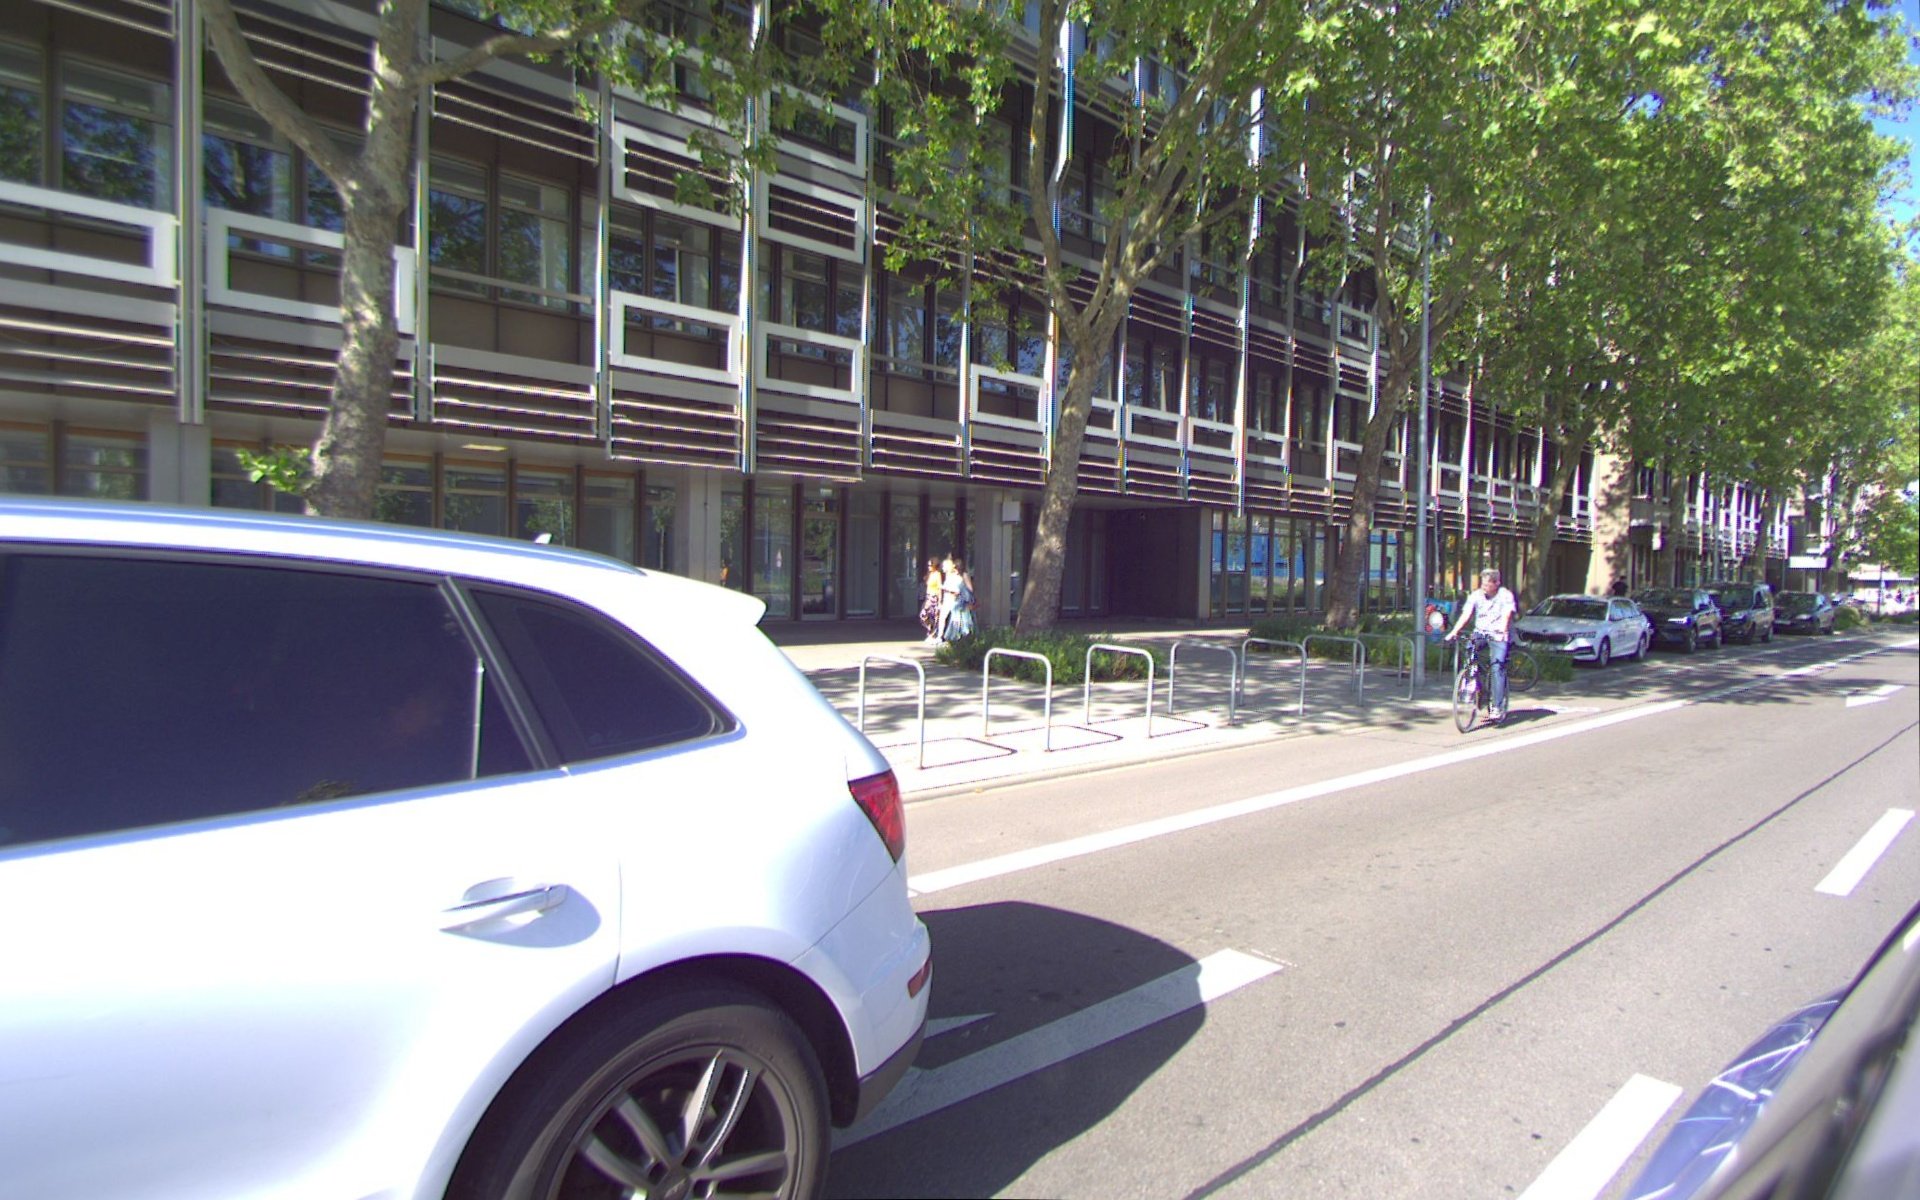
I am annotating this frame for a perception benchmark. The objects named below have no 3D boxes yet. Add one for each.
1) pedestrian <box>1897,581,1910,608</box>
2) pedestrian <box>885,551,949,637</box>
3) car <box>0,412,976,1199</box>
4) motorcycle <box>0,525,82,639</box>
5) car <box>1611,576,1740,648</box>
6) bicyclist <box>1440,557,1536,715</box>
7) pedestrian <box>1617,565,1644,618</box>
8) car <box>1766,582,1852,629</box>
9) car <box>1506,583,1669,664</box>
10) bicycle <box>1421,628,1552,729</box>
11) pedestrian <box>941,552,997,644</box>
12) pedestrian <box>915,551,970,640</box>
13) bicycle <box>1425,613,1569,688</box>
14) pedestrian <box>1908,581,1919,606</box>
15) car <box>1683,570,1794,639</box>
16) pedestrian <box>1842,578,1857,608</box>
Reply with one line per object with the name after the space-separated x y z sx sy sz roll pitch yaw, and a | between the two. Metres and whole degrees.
66.964 -0.390 71.810 0.684 1.863 0.591 0 1 -41 | pedestrian
-0.836 -0.125 19.675 0.991 1.620 0.668 0 4 -40 | pedestrian
-2.204 0.565 1.572 4.334 1.633 1.823 0 1 -40 | car
-12.849 -0.244 13.200 2.085 1.459 0.825 0 2 -41 | motorcycle
18.694 0.261 26.376 4.262 1.653 1.751 0 3 -41 | car
6.012 0.394 11.518 0.838 1.709 0.710 0 -1 -42 | bicyclist
26.298 -0.332 39.693 0.615 2.039 0.741 0 1 -40 | pedestrian
31.436 0.189 37.438 4.262 1.573 1.751 0 3 -41 | car
13.745 0.449 22.060 4.481 1.508 1.751 0 3 -41 | car
6.006 0.847 11.501 1.891 1.006 0.710 0 -1 -43 | bicycle
0.164 -0.043 18.514 0.715 1.620 0.668 0 3 -40 | pedestrian
-0.329 -0.094 19.062 0.715 1.620 0.668 0 3 -41 | pedestrian
8.429 0.761 15.953 0.700 0.972 1.845 0 3 -45 | bicycle
70.339 -0.490 74.588 0.559 1.863 0.591 0 1 -41 | pedestrian
23.089 0.096 29.954 4.262 1.843 1.751 0 3 -41 | car
56.780 -0.445 64.596 0.685 1.863 0.591 0 1 -41 | pedestrian
